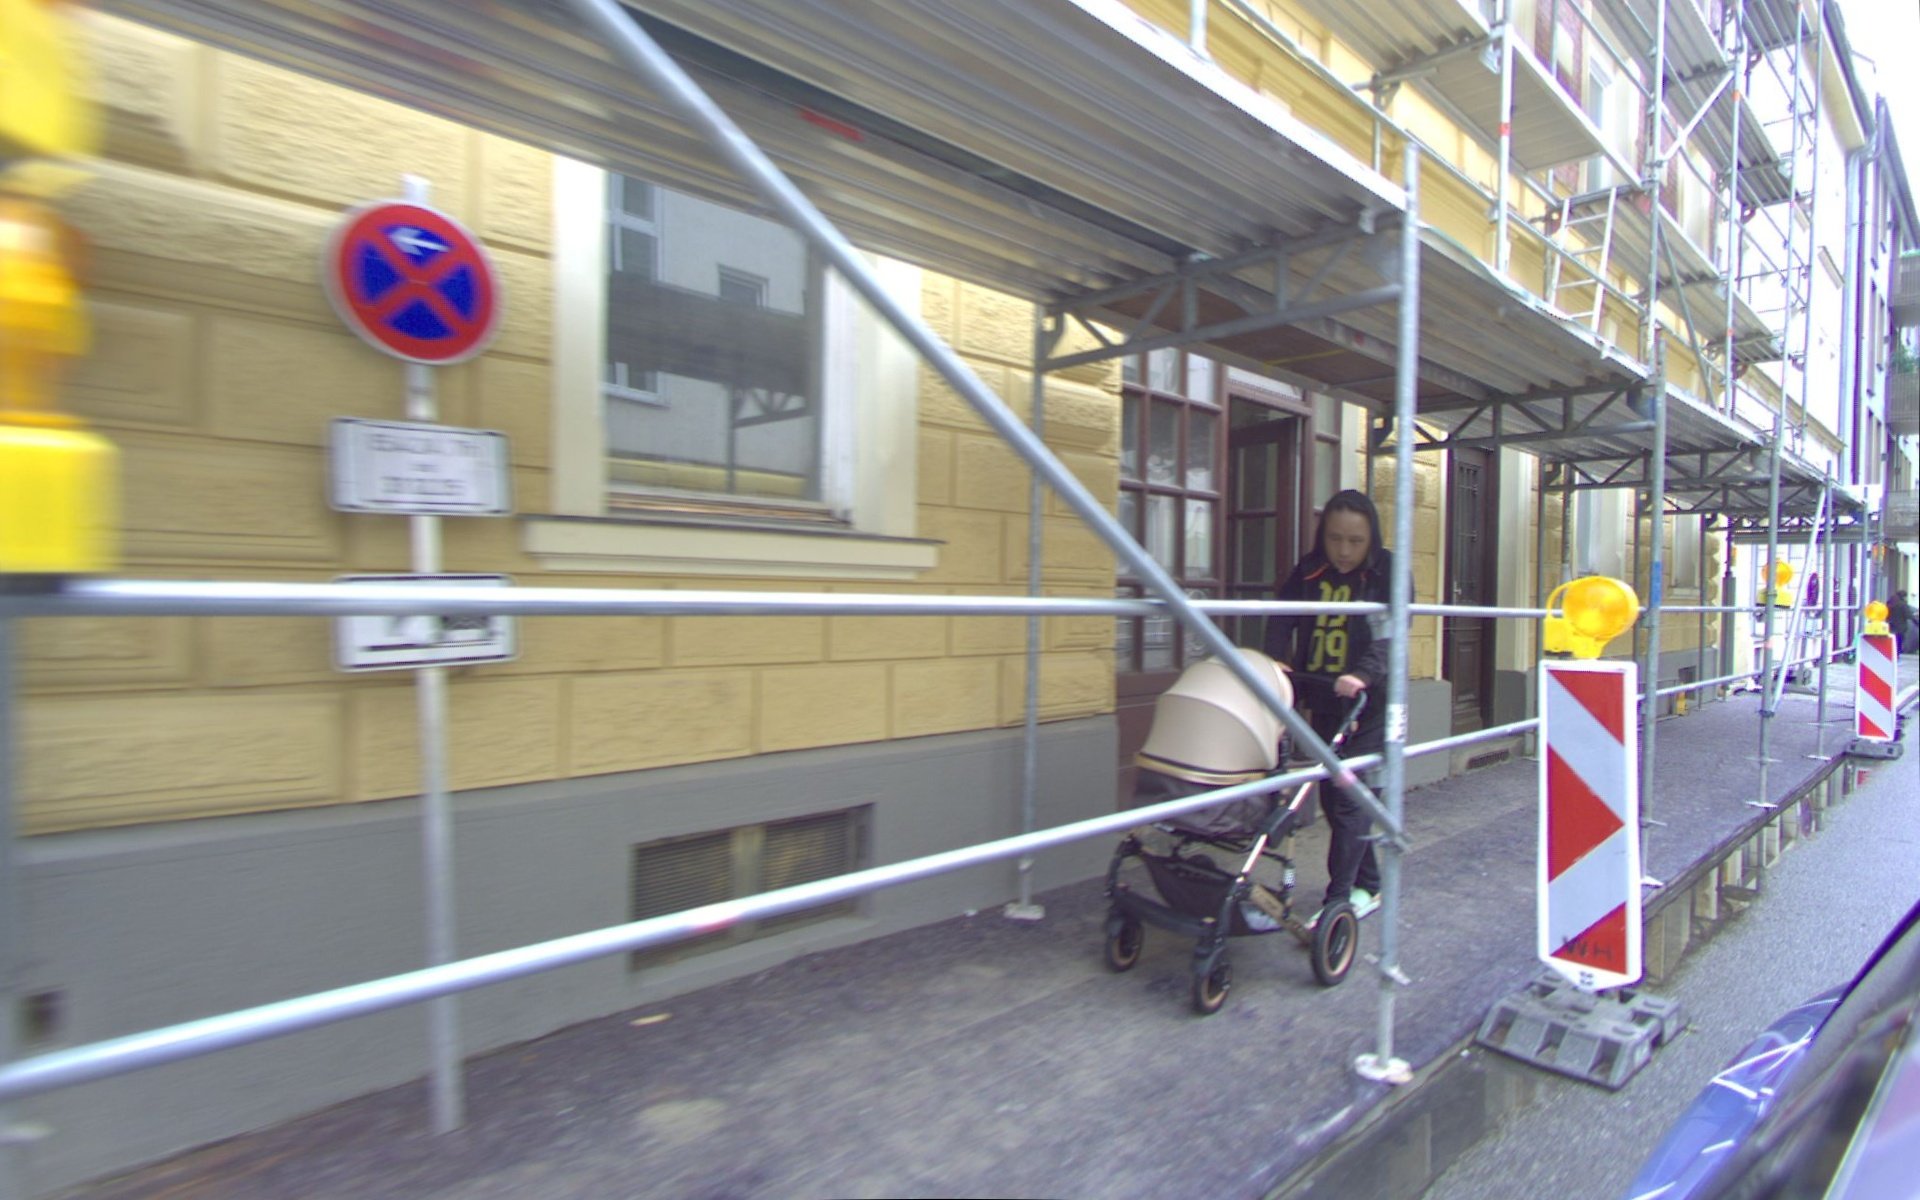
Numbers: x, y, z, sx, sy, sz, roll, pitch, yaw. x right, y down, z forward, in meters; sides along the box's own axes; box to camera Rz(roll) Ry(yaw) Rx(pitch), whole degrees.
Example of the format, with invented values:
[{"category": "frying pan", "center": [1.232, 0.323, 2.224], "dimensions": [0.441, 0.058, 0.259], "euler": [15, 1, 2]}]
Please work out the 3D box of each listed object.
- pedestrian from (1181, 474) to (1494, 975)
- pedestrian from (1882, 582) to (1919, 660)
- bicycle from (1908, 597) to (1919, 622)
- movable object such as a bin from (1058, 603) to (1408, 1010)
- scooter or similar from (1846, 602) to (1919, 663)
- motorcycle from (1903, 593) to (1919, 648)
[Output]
[{"category": "pedestrian", "center": [1.552, 0.414, 4.150], "dimensions": [0.971, 1.773, 0.731], "euler": [0, 4, -43]}, {"category": "pedestrian", "center": [21.270, 0.462, 22.697], "dimensions": [0.575, 1.707, 0.662], "euler": [1, 3, -30]}, {"category": "bicycle", "center": [50.132, 0.510, 52.102], "dimensions": [0.581, 1.244, 1.881], "euler": [0, 2, -13]}, {"category": "movable object such as a bin", "center": [0.980, 0.623, 3.614], "dimensions": [0.972, 1.154, 0.731], "euler": [0, 5, -44]}, {"category": "scooter or similar", "center": [20.007, 0.695, 21.658], "dimensions": [1.577, 1.198, 0.495], "euler": [3, 3, -2]}, {"category": "motorcycle", "center": [26.830, 0.588, 27.978], "dimensions": [1.899, 1.439, 0.807], "euler": [0, 6, -42]}]
